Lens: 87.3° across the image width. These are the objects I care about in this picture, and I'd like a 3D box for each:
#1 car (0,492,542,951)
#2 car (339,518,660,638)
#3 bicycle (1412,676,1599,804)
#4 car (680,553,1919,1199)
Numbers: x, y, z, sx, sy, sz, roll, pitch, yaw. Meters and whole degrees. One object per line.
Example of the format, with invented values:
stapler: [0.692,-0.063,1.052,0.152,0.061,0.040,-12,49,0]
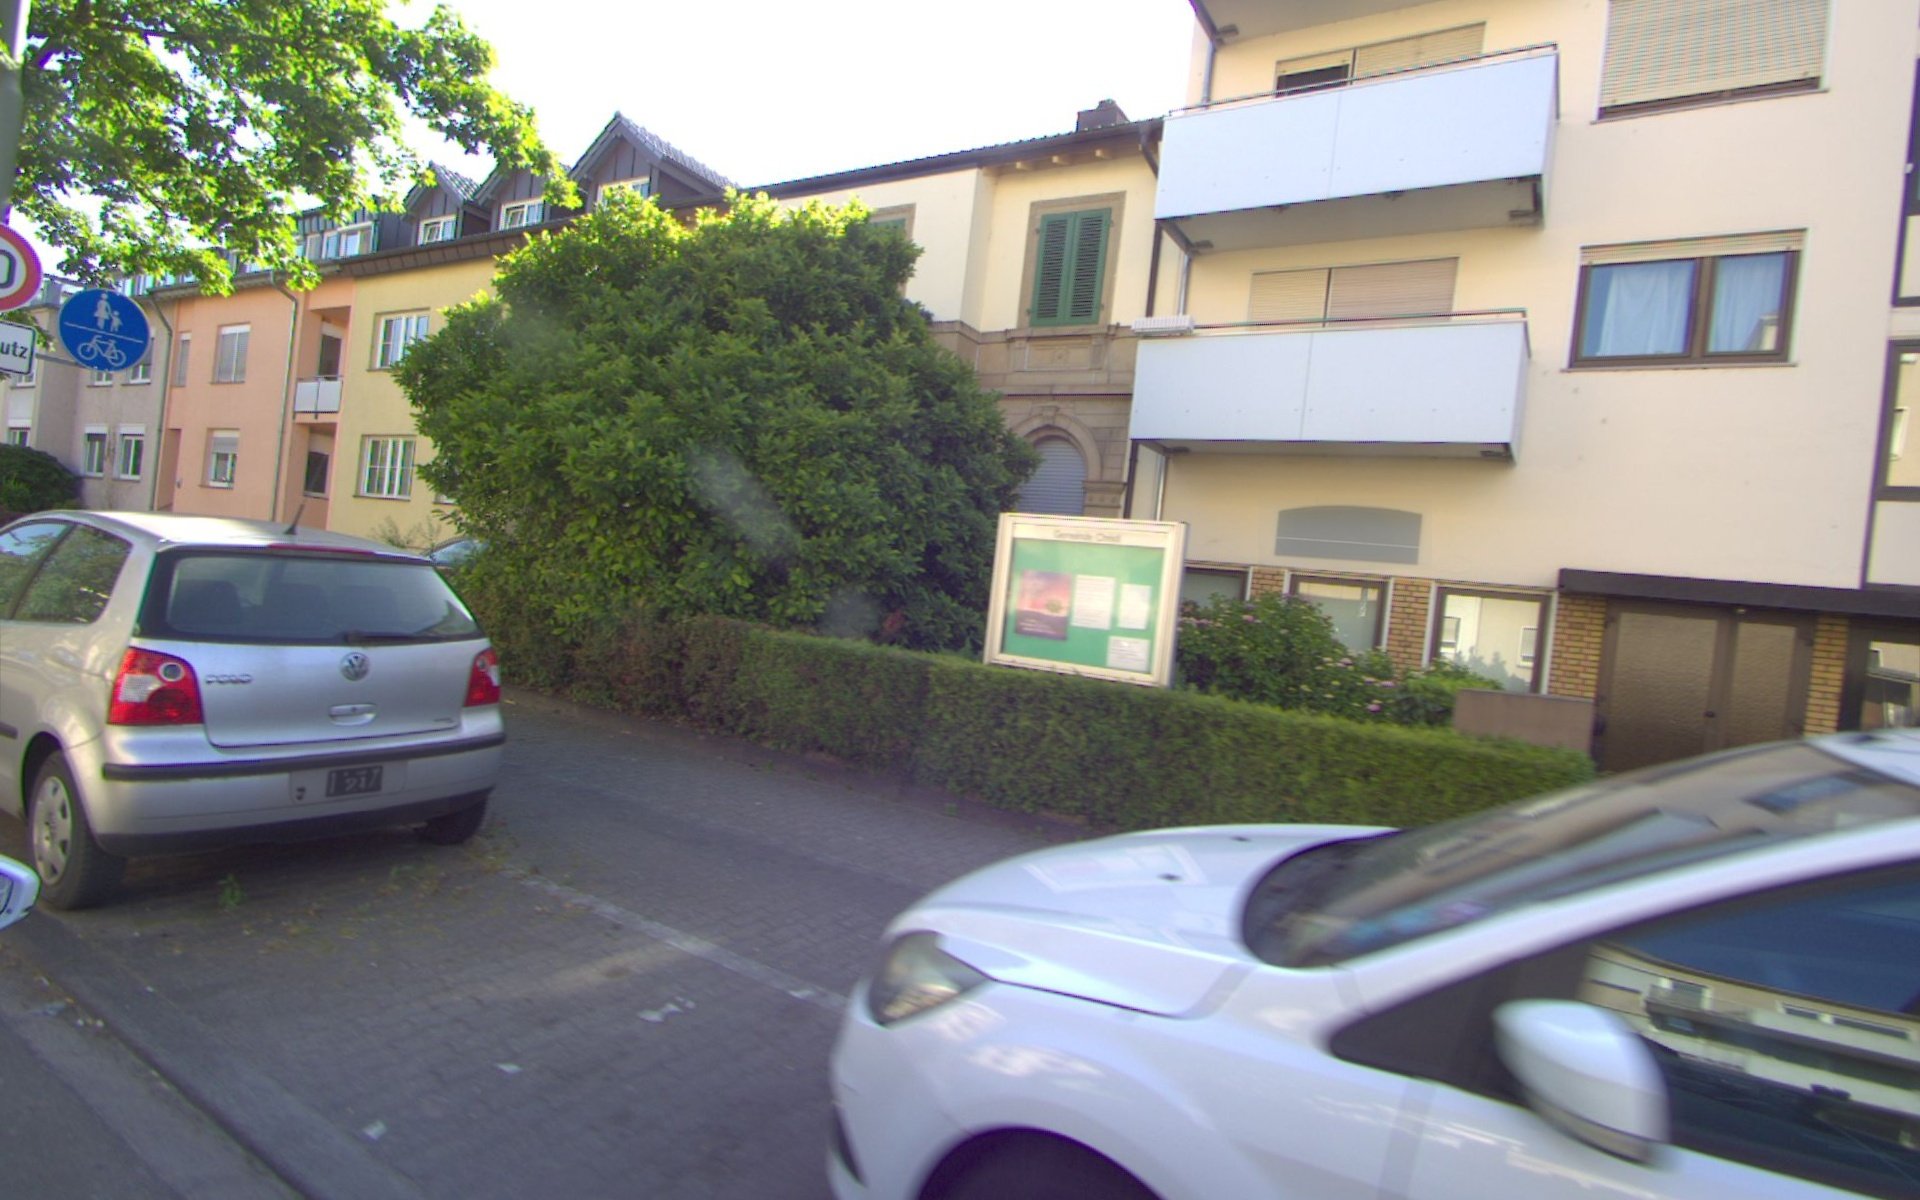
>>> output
car: [-3.991,0.293,5.000,3.802,1.475,1.567,6,1,33]
car: [-6.724,-0.278,15.091,1.801,1.460,3.986,7,2,32]
bicycle: [6.036,1.518,11.194,1.690,1.122,0.459,7,1,32]
car: [1.664,0.893,1.667,4.128,1.501,1.740,6,1,33]
